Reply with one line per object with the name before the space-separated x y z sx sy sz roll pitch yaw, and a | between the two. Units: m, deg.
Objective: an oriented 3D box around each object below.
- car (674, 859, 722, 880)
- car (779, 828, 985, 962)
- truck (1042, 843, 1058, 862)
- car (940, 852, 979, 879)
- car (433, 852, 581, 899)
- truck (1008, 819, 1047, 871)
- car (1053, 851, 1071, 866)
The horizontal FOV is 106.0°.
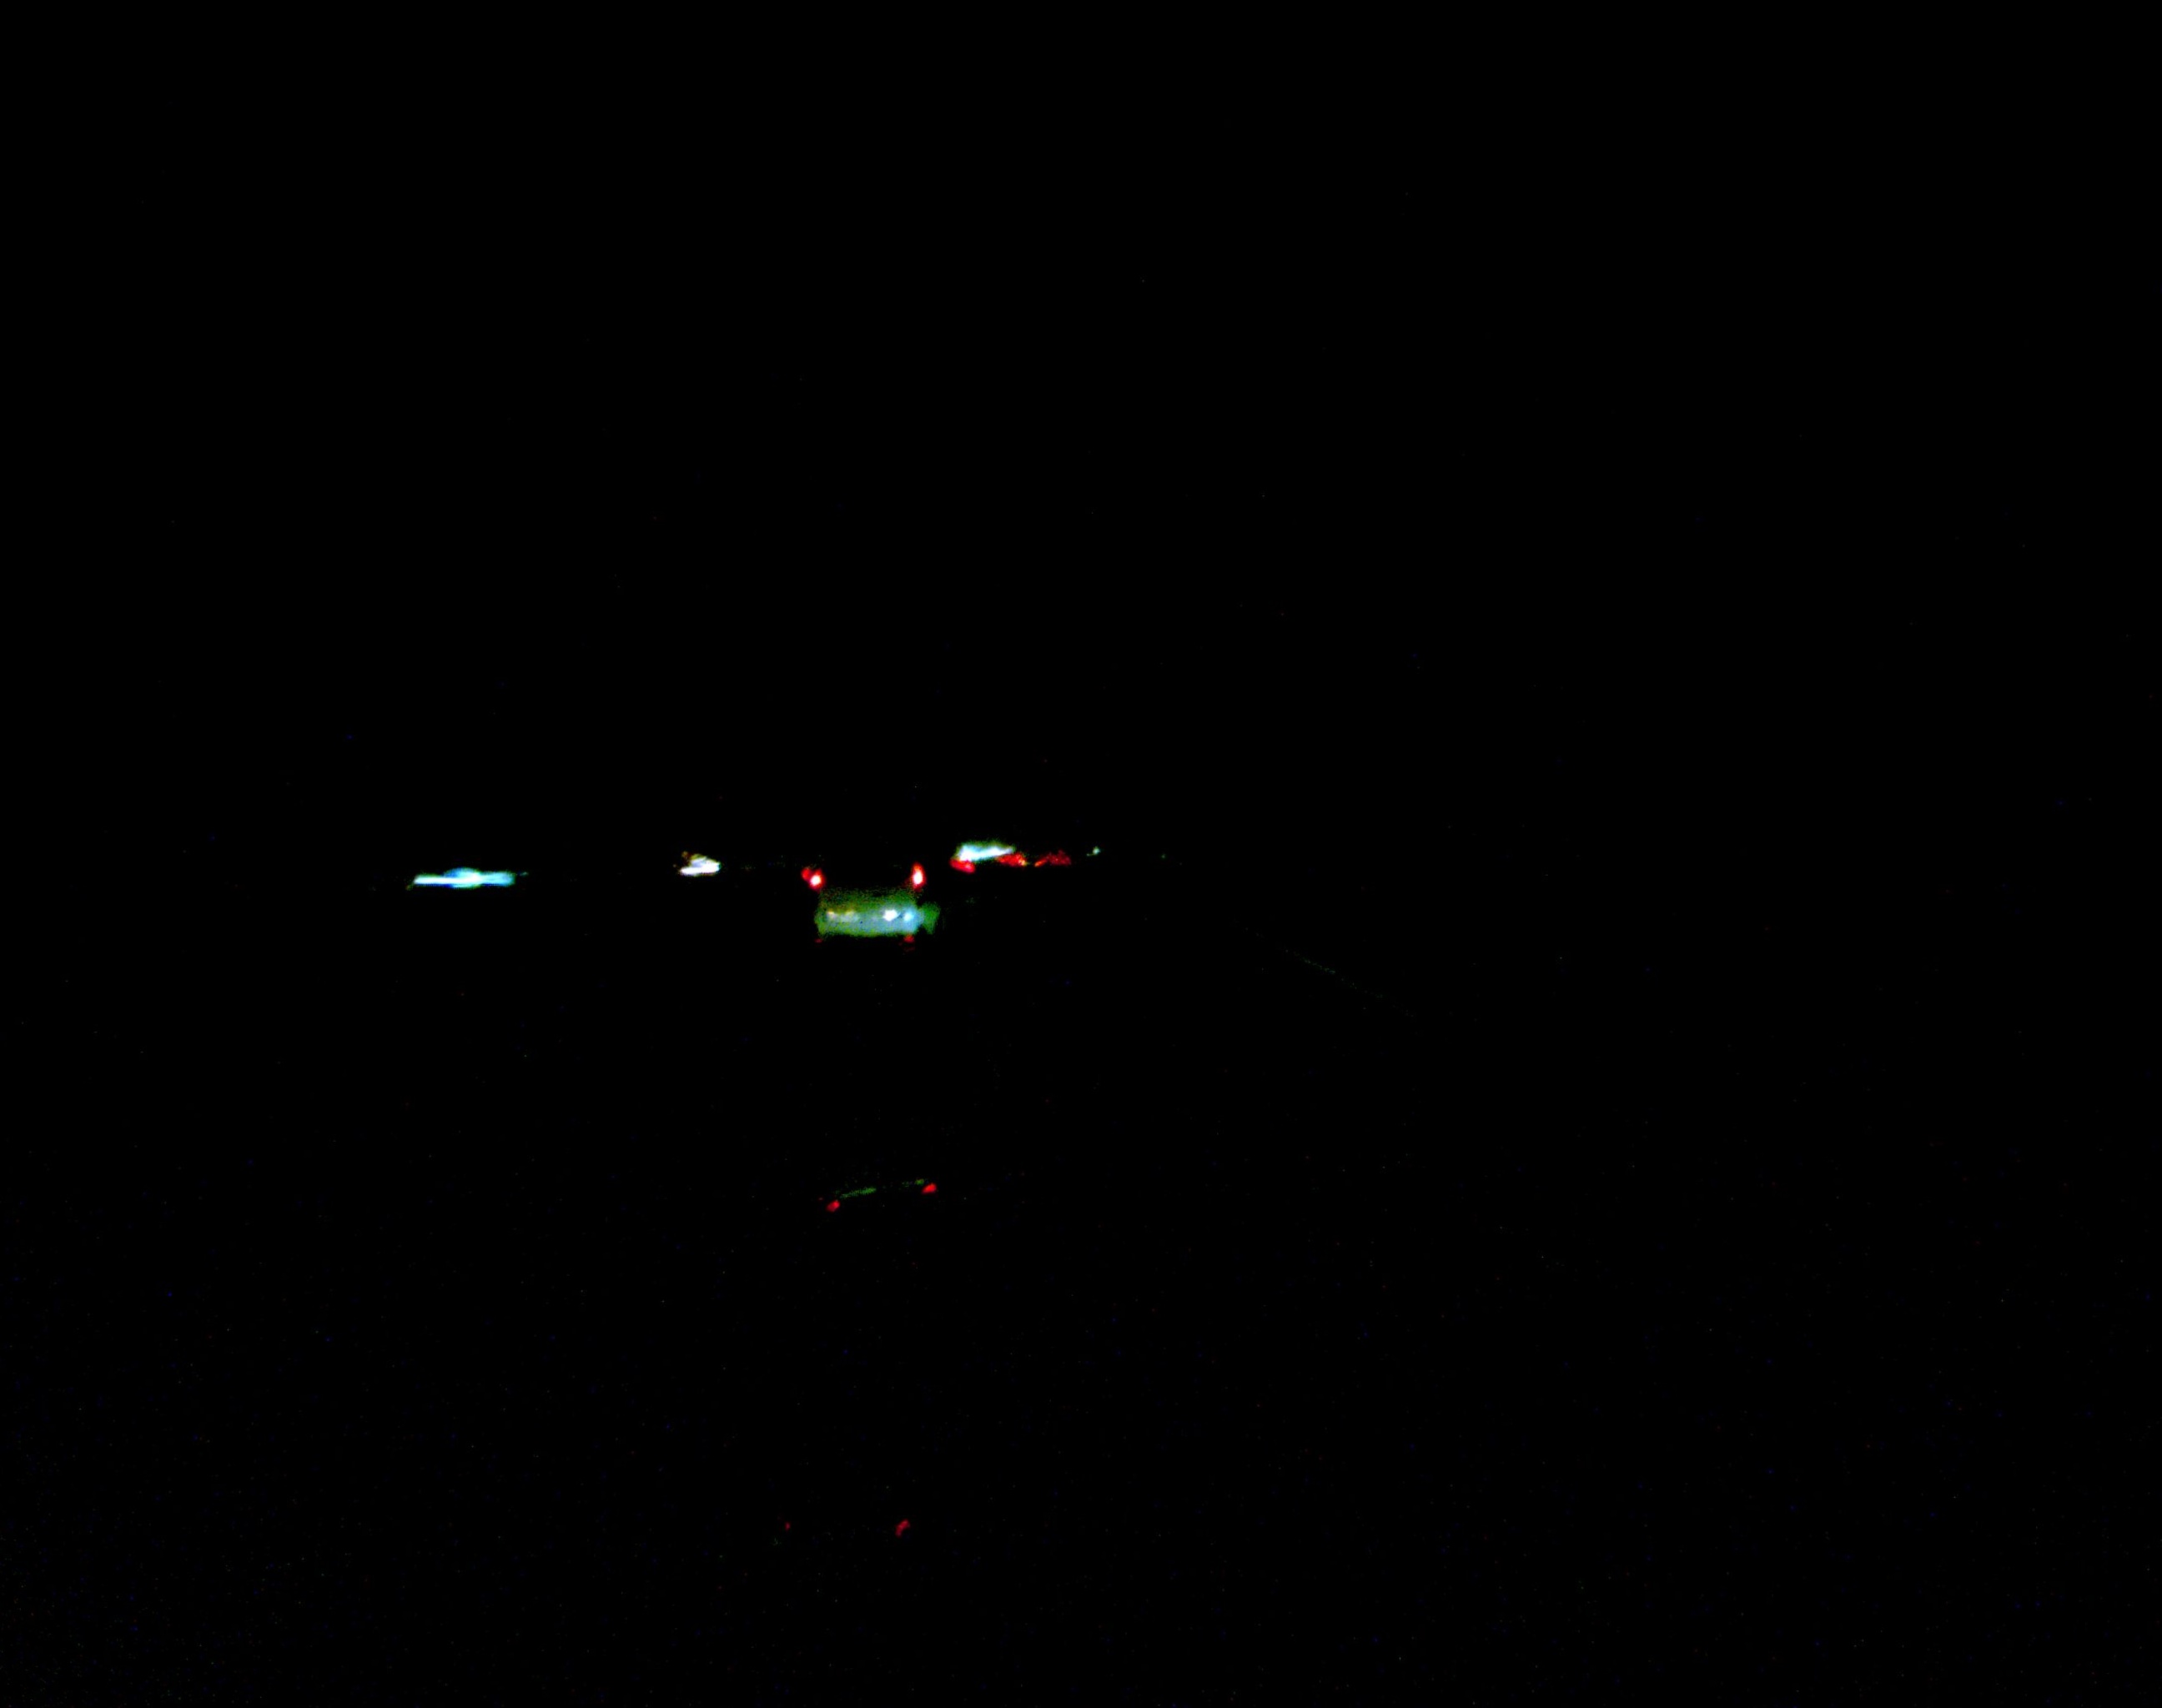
car | -29.488 1.170 62.756 1.770 1.471 3.984 1 0 0
car | -2.976 0.572 13.510 1.945 1.792 5.127 0 0 3
truck | -8.197 -0.445 214.931 3.817 4.915 11.586 0 0 -5
car | -8.213 0.764 55.290 1.987 1.707 4.195 0 0 0
car | -21.623 0.757 31.016 1.987 1.596 5.021 2 0 1
truck | -6.217 -0.934 93.181 4.160 5.544 13.052 0 0 -5
car | -2.329 0.553 98.007 1.990 1.707 4.188 0 0 -5
